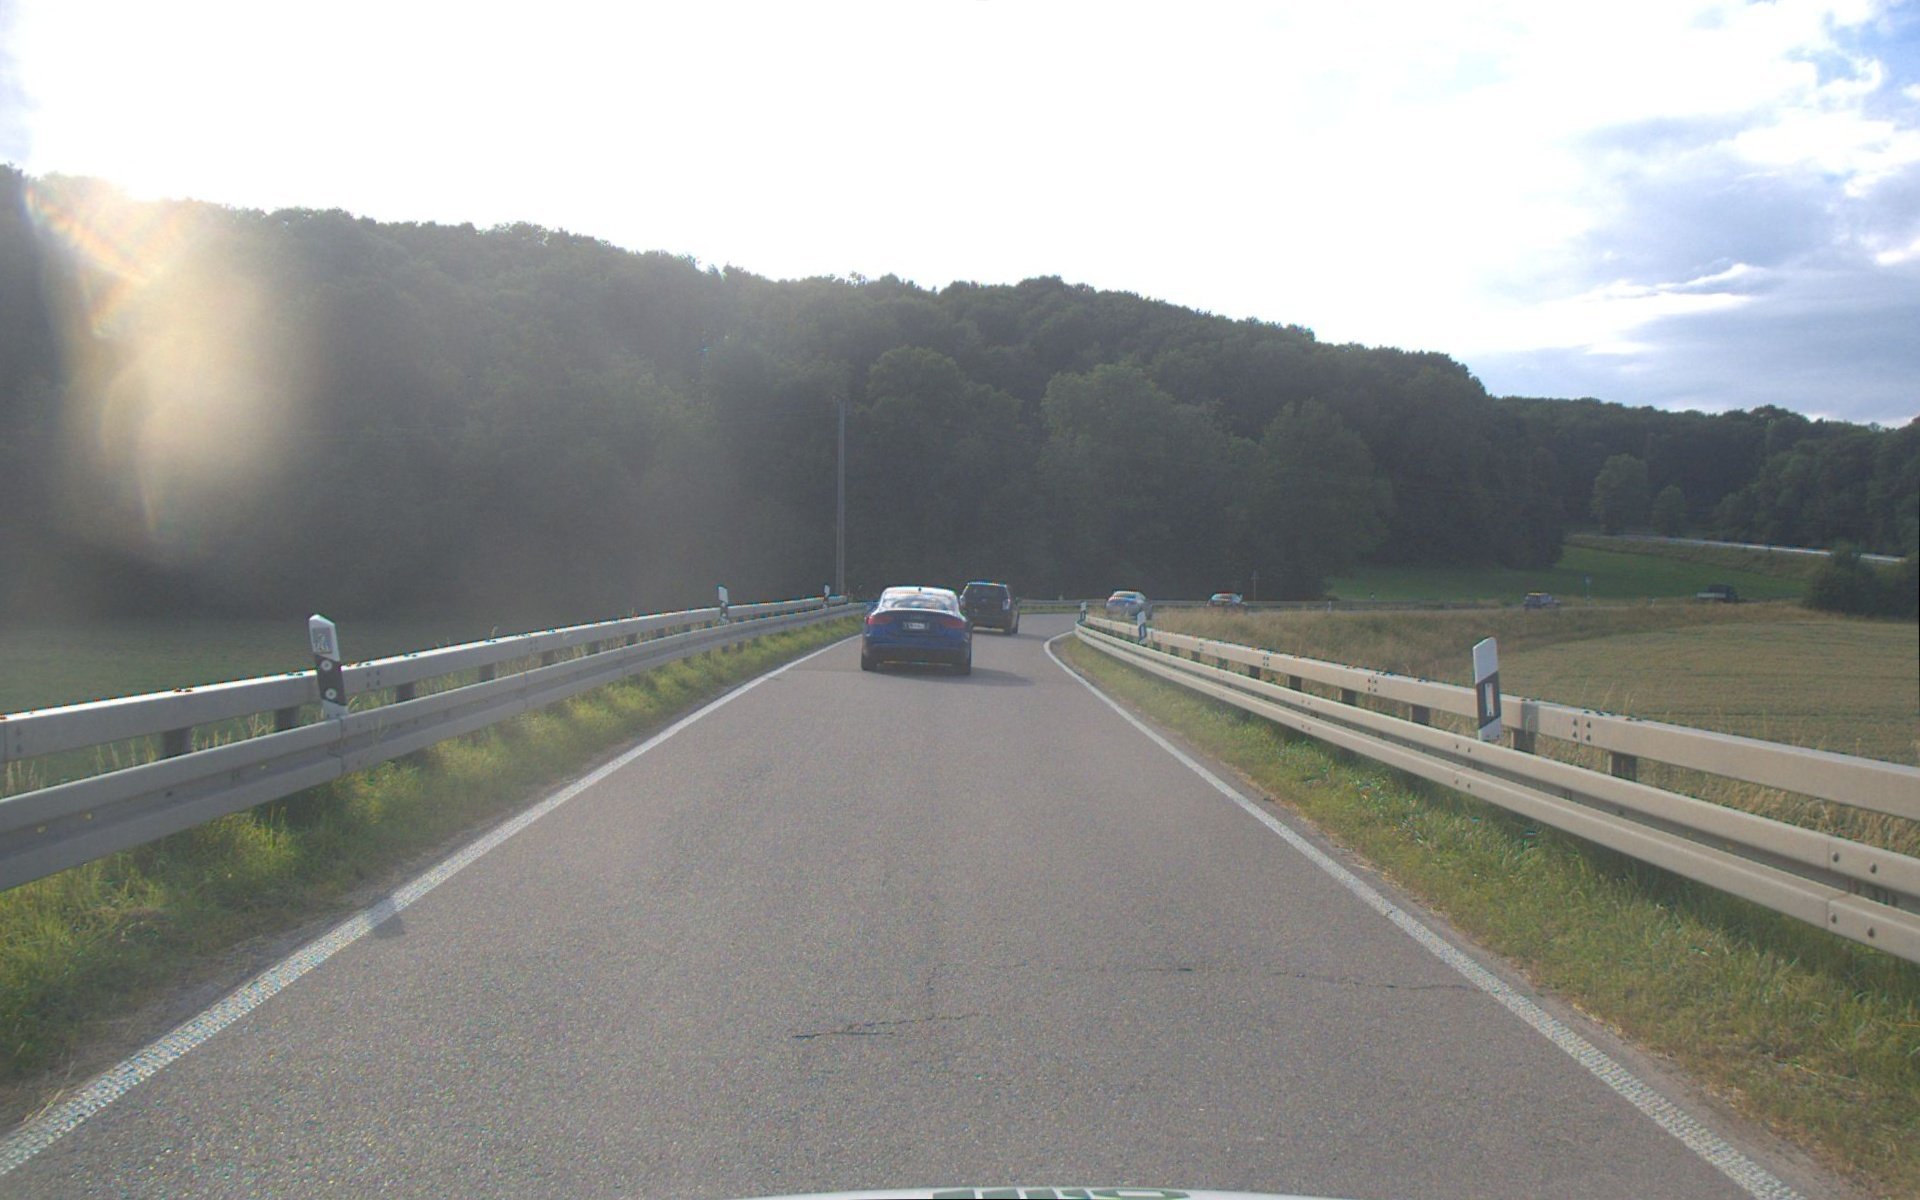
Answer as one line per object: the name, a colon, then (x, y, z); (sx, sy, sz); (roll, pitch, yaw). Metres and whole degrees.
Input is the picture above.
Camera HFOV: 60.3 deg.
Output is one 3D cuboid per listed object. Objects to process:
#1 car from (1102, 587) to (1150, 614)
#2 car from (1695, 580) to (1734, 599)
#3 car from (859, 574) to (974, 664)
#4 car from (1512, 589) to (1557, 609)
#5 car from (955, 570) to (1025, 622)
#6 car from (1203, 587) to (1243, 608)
car: (8.850, 0.033, 88.051); (1.647, 1.400, 4.002); (1, 0, 19)
car: (79.555, -1.092, 174.410); (3.954, 1.802, 1.976); (2, 1, -35)
car: (-0.701, 0.289, 27.989); (1.781, 1.362, 4.349); (1, 0, -1)
car: (53.536, -0.097, 154.033); (4.134, 1.708, 1.974); (1, 1, -38)
car: (1.003, -0.133, 53.591); (1.822, 1.596, 4.003); (1, 1, 7)
car: (17.357, -0.145, 108.958); (1.444, 1.248, 3.291); (1, -1, 31)
